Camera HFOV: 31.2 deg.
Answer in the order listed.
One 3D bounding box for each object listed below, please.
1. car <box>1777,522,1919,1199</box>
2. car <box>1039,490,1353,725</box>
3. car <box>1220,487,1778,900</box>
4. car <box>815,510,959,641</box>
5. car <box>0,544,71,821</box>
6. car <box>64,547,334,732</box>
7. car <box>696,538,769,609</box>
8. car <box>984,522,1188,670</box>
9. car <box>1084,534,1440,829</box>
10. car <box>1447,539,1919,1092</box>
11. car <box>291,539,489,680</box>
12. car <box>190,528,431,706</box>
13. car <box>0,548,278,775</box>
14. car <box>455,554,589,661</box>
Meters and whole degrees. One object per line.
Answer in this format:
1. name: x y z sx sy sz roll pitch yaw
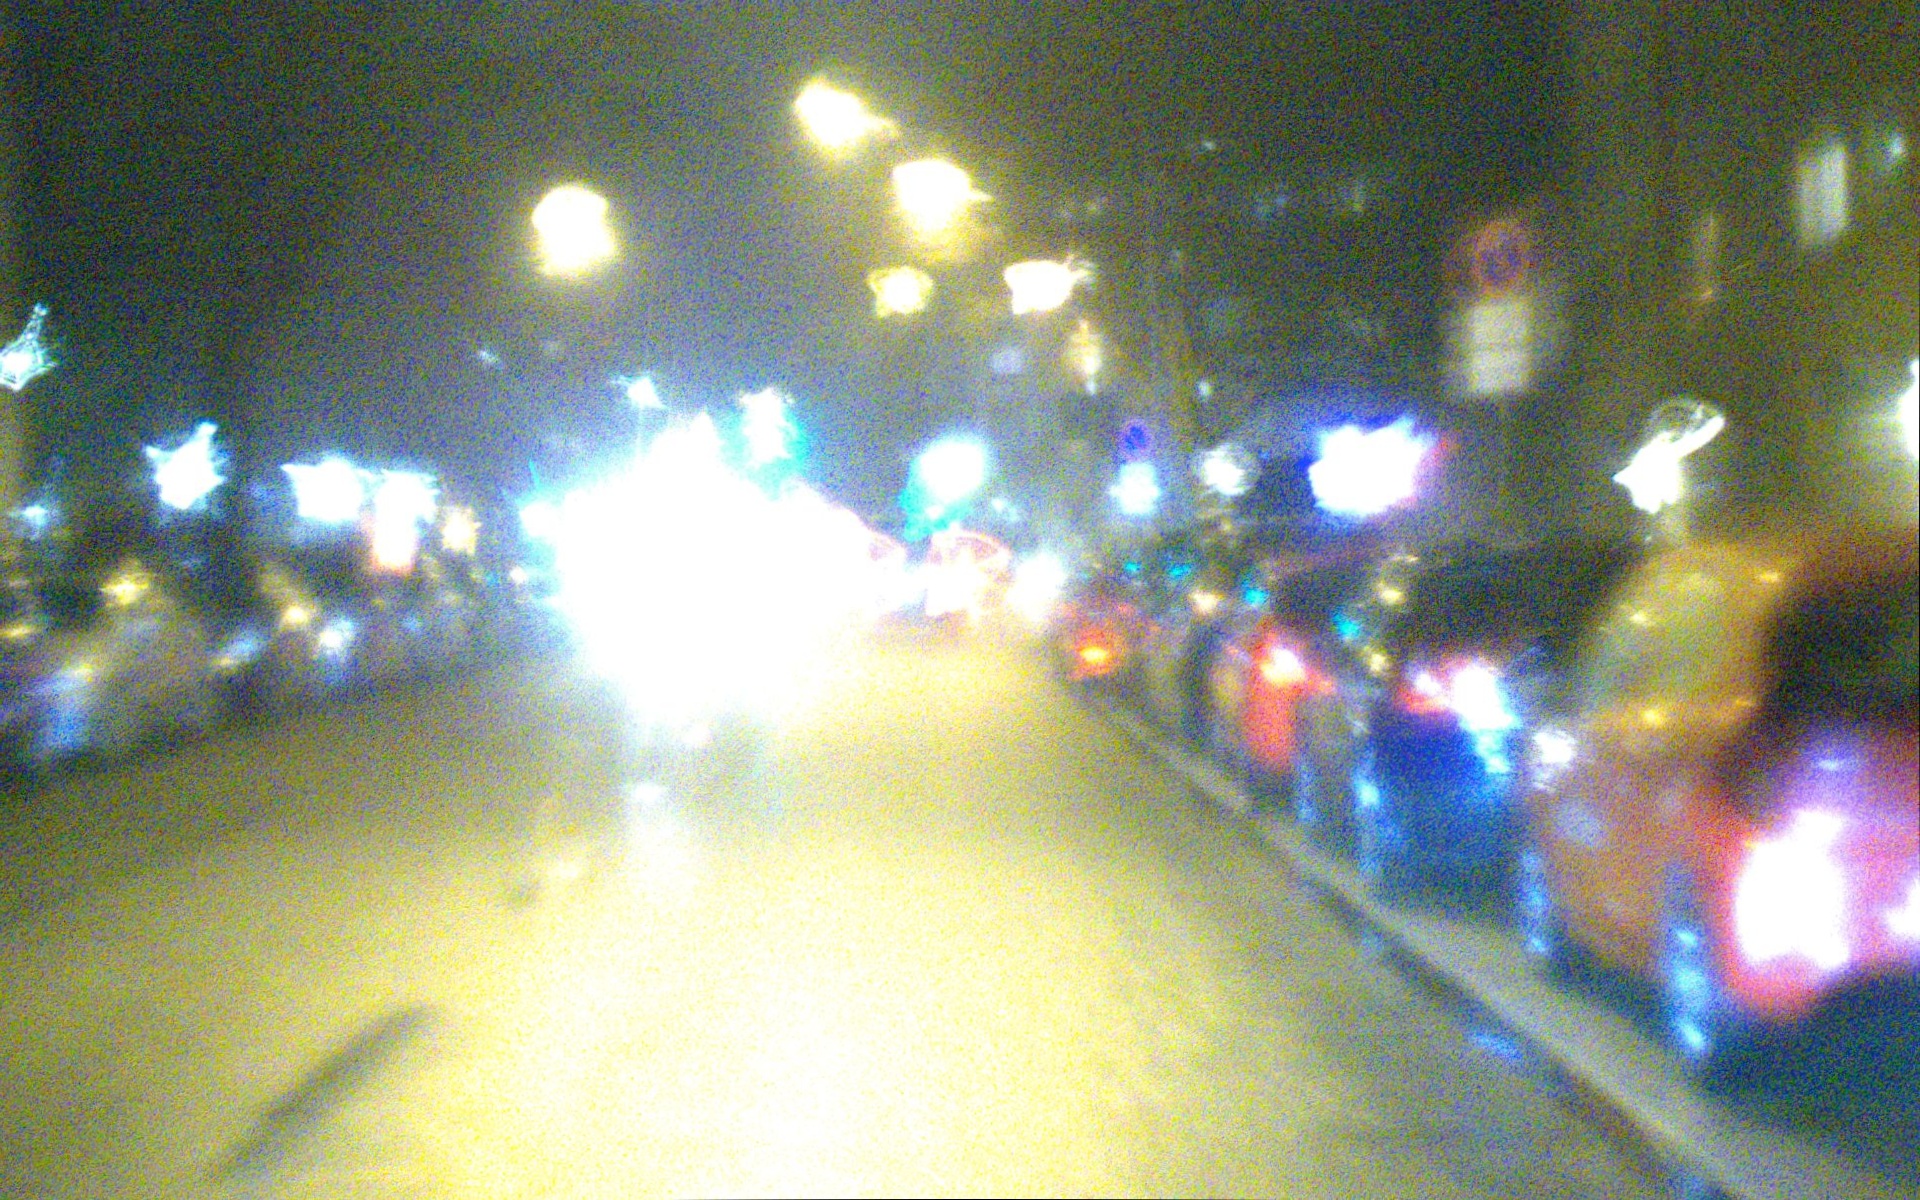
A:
1. car: 2.819 0.581 5.705 1.674 1.482 4.280 -2 1 -3
2. car: 1.660 0.003 25.800 1.799 1.525 5.052 -2 1 -2
3. car: 2.286 0.316 15.865 1.754 1.542 4.978 -2 1 0
4. car: -1.167 -0.402 54.373 2.168 1.965 4.302 -1 1 -1
5. car: -6.388 0.523 20.249 1.474 1.614 3.374 -4 1 -3
6. car: -6.667 0.297 30.478 1.598 1.426 4.005 -4 1 -3
7. car: -7.009 -0.849 105.348 2.034 1.947 5.201 -3 2 -5
8. car: 1.284 -0.079 36.737 1.822 1.417 4.489 -2 1 -2
9. car: 1.726 0.405 20.944 1.824 1.542 4.352 -2 1 1
10. car: 2.543 0.496 10.256 1.456 1.301 3.629 -2 1 -3
11. car: -6.688 0.066 40.733 1.598 1.481 4.275 -4 1 -1
12. car: -6.546 0.120 35.043 1.598 1.599 4.259 -4 1 -1
13. car: -6.340 0.394 25.677 1.637 1.451 4.934 -4 1 -3
14. car: -7.155 0.085 56.510 1.598 1.558 4.380 -4 1 -1
